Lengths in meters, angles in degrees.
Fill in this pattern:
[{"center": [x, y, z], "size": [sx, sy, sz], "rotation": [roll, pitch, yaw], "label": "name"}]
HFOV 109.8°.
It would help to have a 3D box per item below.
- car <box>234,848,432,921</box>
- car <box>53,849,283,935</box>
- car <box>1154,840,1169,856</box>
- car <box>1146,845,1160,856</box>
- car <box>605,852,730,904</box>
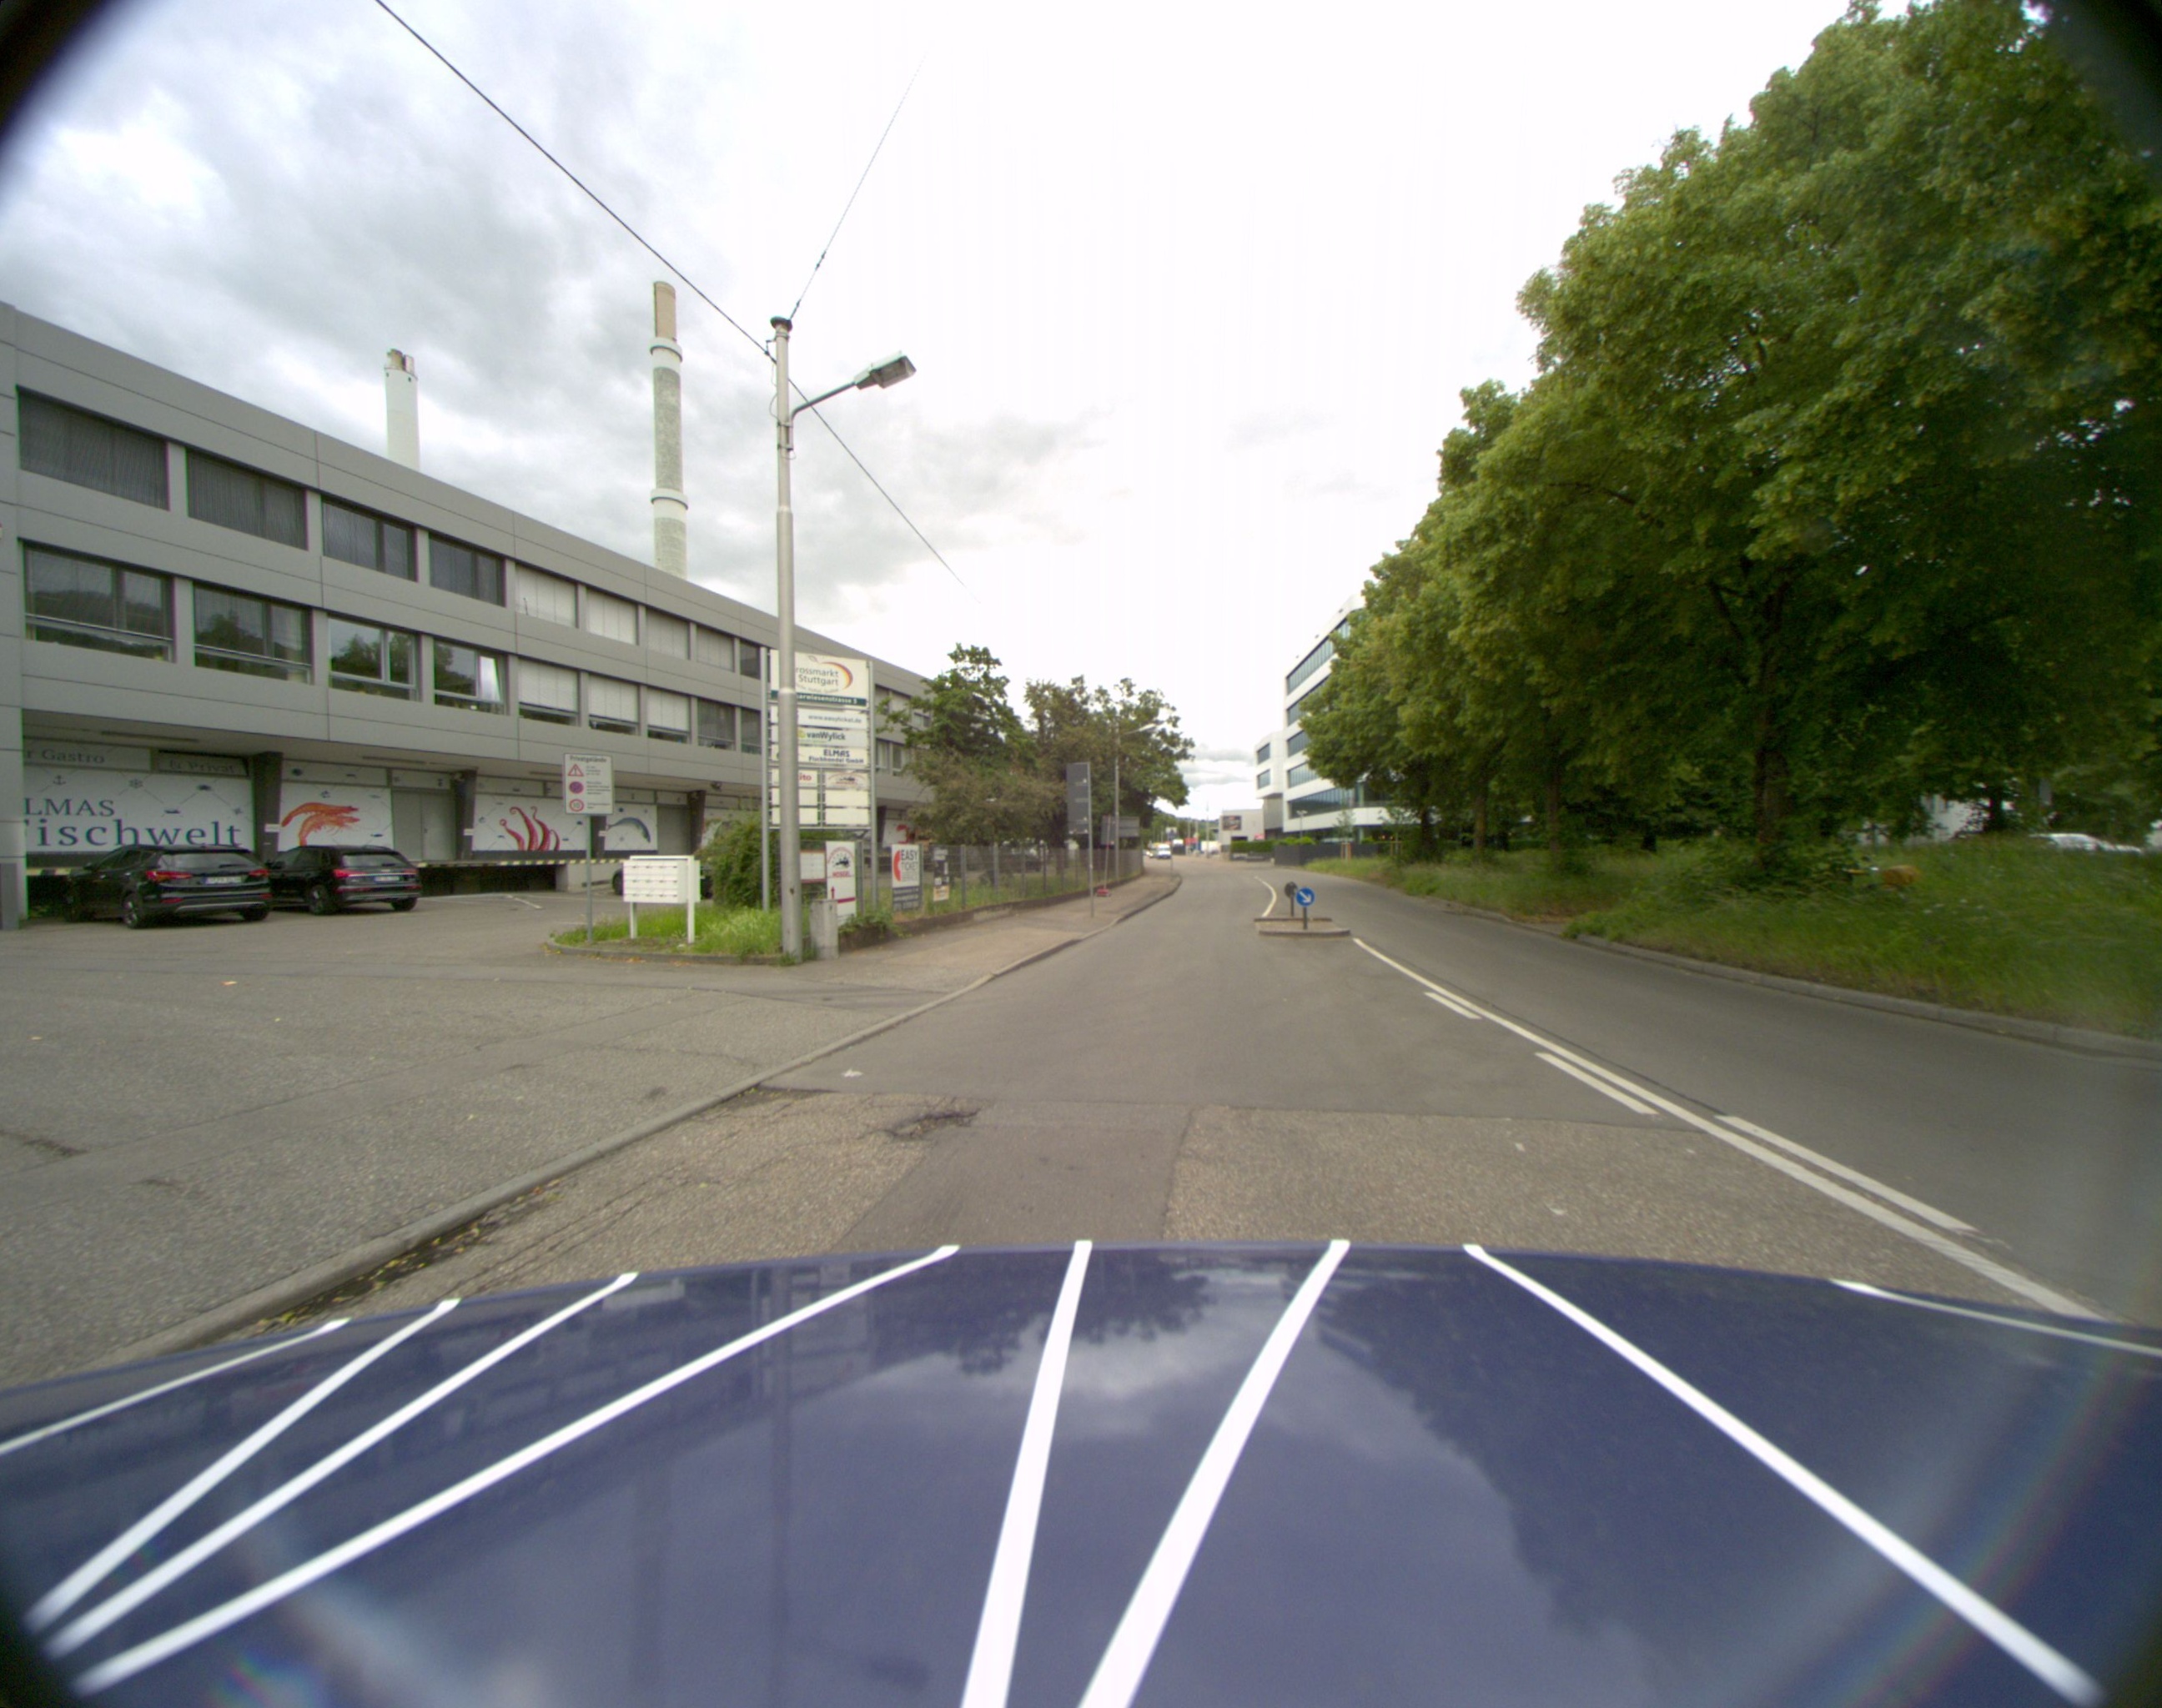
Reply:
[{"center": [-18.704, 0.681, 19.008], "size": [4.413, 1.609, 1.841], "rotation": [1, 1, 21], "label": "car"}, {"center": [-19.644, 0.726, 16.353], "size": [4.454, 1.609, 1.842], "rotation": [1, 1, 22], "label": "car"}, {"center": [13.641, -1.046, 128.658], "size": [2.387, 2.445, 6.102], "rotation": [-1, 1, 5], "label": "car"}, {"center": [13.406, -0.702, 141.680], "size": [2.387, 1.859, 5.208], "rotation": [-1, 1, 5], "label": "car"}, {"center": [-14.215, 0.746, 26.014], "size": [4.813, 1.437, 2.055], "rotation": [2, 3, 39], "label": "car"}]
